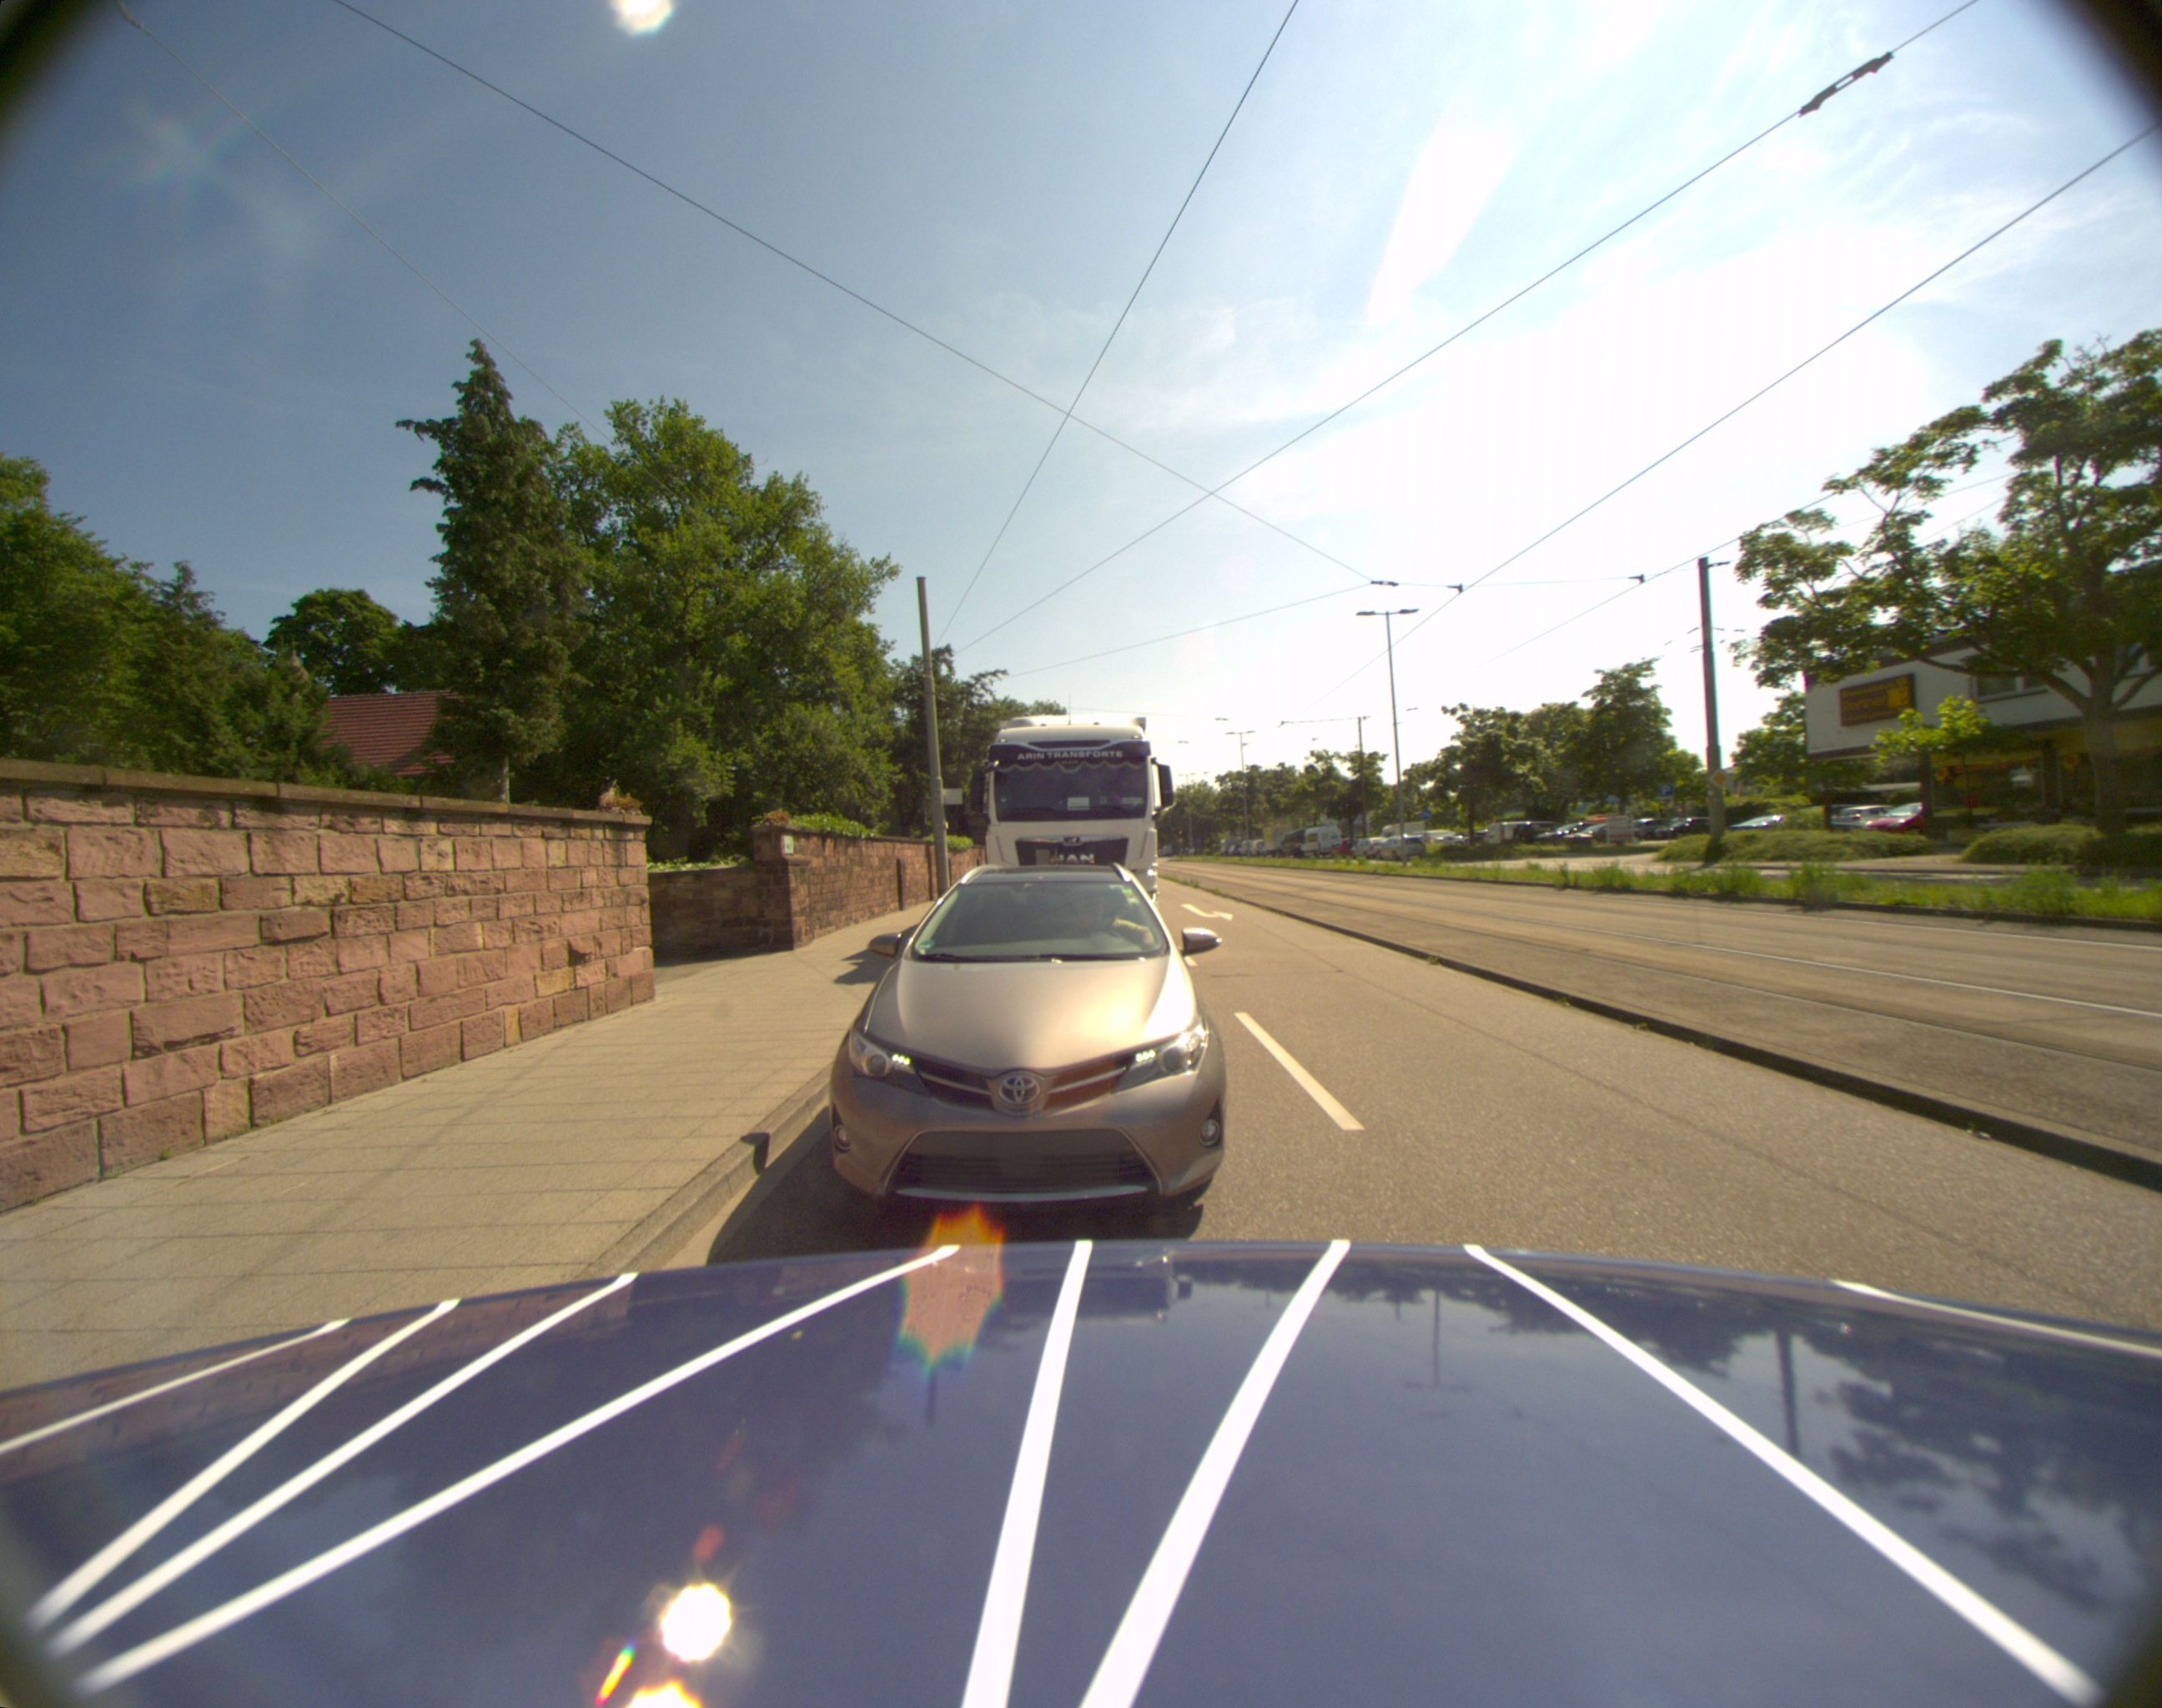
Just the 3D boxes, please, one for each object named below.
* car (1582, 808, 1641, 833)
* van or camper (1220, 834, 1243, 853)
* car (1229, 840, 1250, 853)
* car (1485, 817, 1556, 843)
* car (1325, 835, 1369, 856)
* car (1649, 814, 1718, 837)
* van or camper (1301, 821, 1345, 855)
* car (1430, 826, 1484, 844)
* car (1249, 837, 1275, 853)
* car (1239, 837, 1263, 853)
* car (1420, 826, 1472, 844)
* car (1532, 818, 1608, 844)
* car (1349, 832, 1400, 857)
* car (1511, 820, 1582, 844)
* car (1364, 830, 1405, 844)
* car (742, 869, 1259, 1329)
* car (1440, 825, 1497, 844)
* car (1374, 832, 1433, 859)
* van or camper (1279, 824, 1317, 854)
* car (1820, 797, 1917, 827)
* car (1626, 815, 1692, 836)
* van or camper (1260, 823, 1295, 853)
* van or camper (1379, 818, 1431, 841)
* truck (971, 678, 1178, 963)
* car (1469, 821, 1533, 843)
[{"bbox_3d":[43.607,-2.732,62.542,3.624,1.767,1.712,-3,1,-1],"label":"car"},{"bbox_3d":[21.176,-1.481,107.262,2.114,2.604,5.451,-2,1,1],"label":"van or camper"},{"bbox_3d":[20.910,-0.990,100.268,1.893,1.551,4.232,-3,0,0],"label":"car"},{"bbox_3d":[30.448,-1.648,52.666,3.749,1.560,1.951,-3,1,-1],"label":"car"},{"bbox_3d":[20.552,-0.632,58.881,1.893,1.486,4.232,-3,0,0],"label":"car"},{"bbox_3d":[43.535,-2.045,54.942,3.624,1.353,1.712,-3,1,-1],"label":"car"},{"bbox_3d":[20.269,-1.272,63.799,2.040,2.617,4.839,-3,0,0],"label":"van or camper"},{"bbox_3d":[31.464,-1.594,63.707,3.624,1.274,1.712,-3,1,-1],"label":"car"},{"bbox_3d":[20.779,-1.036,87.358,1.893,1.724,4.232,-3,0,0],"label":"car"},{"bbox_3d":[21.052,-1.096,94.294,1.893,1.757,4.232,-3,0,0],"label":"car"},{"bbox_3d":[31.690,-1.630,66.026,3.624,1.274,1.712,-3,1,-1],"label":"car"},{"bbox_3d":[30.496,-1.411,47.457,3.624,1.353,1.712,-3,1,-1],"label":"car"},{"bbox_3d":[20.533,-0.637,53.349,1.893,1.551,4.285,-3,0,0],"label":"car"},{"bbox_3d":[30.699,-1.450,50.200,3.624,1.353,1.712,-3,1,-1],"label":"car"},{"bbox_3d":[32.005,-1.804,80.230,3.624,1.274,1.712,-3,1,-1],"label":"car"},{"bbox_3d":[-0.254,0.913,4.912,1.742,1.424,4.462,-3,0,1],"label":"car"},{"bbox_3d":[31.046,-1.547,60.897,3.624,1.274,1.812,-3,0,-1],"label":"car"},{"bbox_3d":[20.345,-0.533,48.163,1.892,1.486,4.285,-6,0,2],"label":"car"},{"bbox_3d":[20.216,-1.350,70.854,2.040,2.617,4.839,-3,0,0],"label":"van or camper"},{"bbox_3d":[43.786,-2.304,42.303,3.624,1.353,1.712,-3,1,-1],"label":"car"},{"bbox_3d":[43.732,-2.136,57.532,3.624,1.353,1.712,-3,1,-1],"label":"car"},{"bbox_3d":[20.290,-1.617,78.744,2.128,2.968,5.281,-3,0,0],"label":"van or camper"},{"bbox_3d":[44.860,-3.396,105.399,6.081,2.715,2.299,-3,1,3],"label":"van or camper"},{"bbox_3d":[-0.025,-0.483,15.046,2.746,3.852,9.110,-2,0,1],"label":"truck"},{"bbox_3d":[30.376,-1.587,54.993,3.624,1.277,1.712,-3,1,-1],"label":"car"}]
